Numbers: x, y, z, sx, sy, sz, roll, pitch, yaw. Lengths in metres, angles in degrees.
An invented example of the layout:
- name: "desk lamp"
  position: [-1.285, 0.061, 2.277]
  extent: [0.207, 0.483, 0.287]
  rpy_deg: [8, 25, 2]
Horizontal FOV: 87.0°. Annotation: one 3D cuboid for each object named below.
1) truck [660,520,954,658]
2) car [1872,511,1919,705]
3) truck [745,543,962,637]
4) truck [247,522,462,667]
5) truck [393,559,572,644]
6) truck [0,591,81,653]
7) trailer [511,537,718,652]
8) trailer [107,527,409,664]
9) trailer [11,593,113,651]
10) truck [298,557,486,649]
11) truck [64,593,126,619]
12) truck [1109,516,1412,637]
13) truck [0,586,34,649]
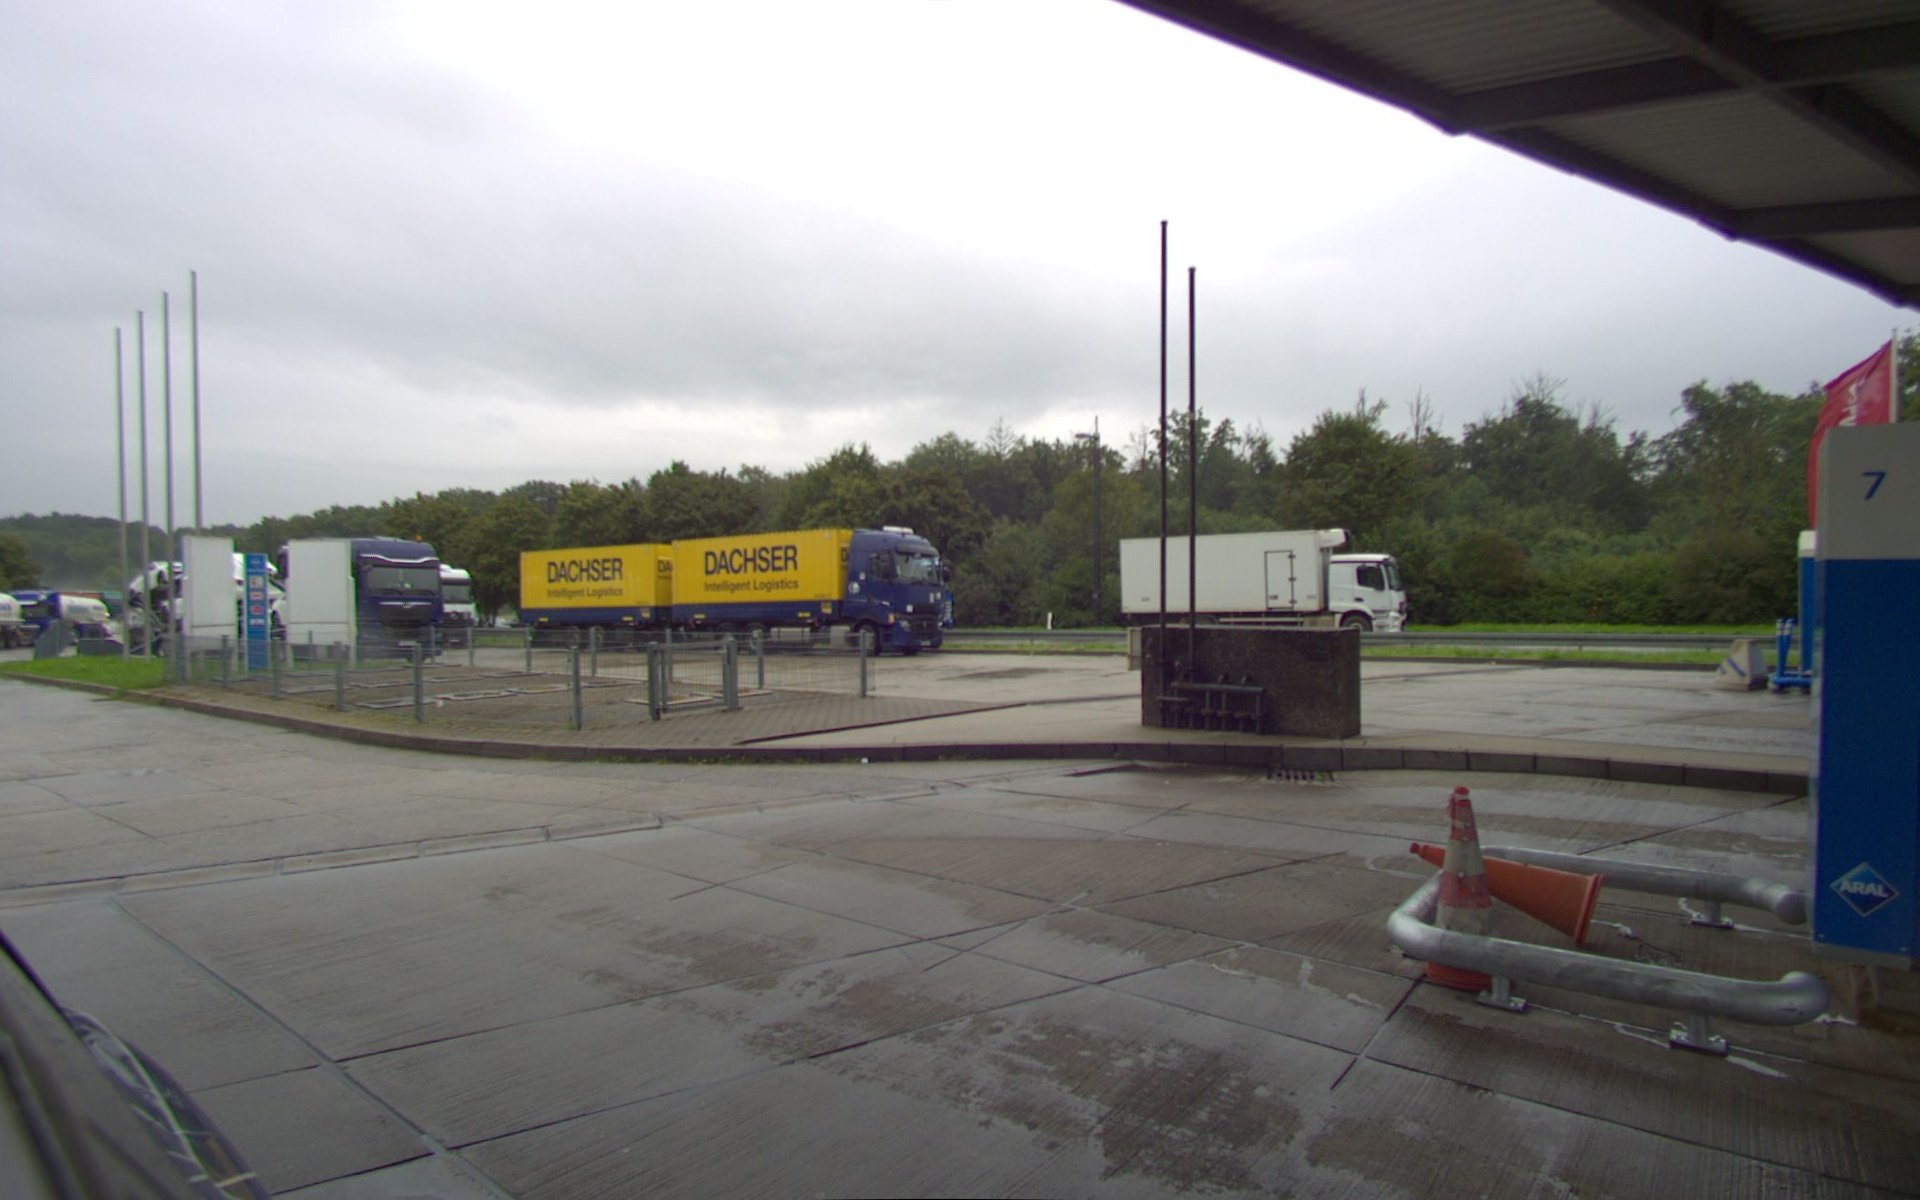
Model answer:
- name: "truck"
  position: [-5.393, -0.273, 33.946]
  extent: [10.608, 4.063, 2.743]
  rpy_deg: [-1, 0, 33]
- name: "car"
  position: [14.883, 0.078, 12.387]
  extent: [5.272, 2.482, 2.298]
  rpy_deg: [-1, -2, 37]
- name: "truck"
  position: [-5.142, -0.379, 47.680]
  extent: [10.433, 4.063, 2.961]
  rpy_deg: [-1, 0, 30]
- name: "truck"
  position: [-18.995, -0.115, 31.612]
  extent: [7.244, 4.063, 2.957]
  rpy_deg: [-1, 0, 34]
- name: "truck"
  position: [-24.783, 0.139, 52.265]
  extent: [10.433, 4.063, 2.961]
  rpy_deg: [-1, 0, 30]
- name: "truck"
  position: [-59.426, 1.369, 64.985]
  extent: [3.000, 3.795, 6.486]
  rpy_deg: [-1, 0, -27]
- name: "trailer"
  position: [-13.548, -0.168, 39.279]
  extent: [8.833, 4.063, 2.743]
  rpy_deg: [-1, 0, 33]
- name: "trailer"
  position: [-25.419, -0.058, 35.915]
  extent: [16.563, 4.063, 2.957]
  rpy_deg: [-1, 0, 34]
- name: "trailer"
  position: [-62.272, 1.432, 70.472]
  extent: [2.854, 3.666, 10.605]
  rpy_deg: [-1, 0, -28]
- name: "truck"
  position: [-27.304, 0.174, 48.436]
  extent: [10.433, 4.063, 2.961]
  rpy_deg: [-1, 0, 30]
- name: "truck"
  position: [-129.153, 1.001, 151.065]
  extent: [14.626, 3.591, 3.215]
  rpy_deg: [-1, -1, 34]
- name: "truck"
  position: [11.010, -0.738, 37.725]
  extent: [10.433, 4.063, 2.961]
  rpy_deg: [-1, 0, 30]
- name: "truck"
  position: [-55.560, 1.017, 55.006]
  extent: [3.196, 3.591, 12.013]
  rpy_deg: [-1, 0, -19]
